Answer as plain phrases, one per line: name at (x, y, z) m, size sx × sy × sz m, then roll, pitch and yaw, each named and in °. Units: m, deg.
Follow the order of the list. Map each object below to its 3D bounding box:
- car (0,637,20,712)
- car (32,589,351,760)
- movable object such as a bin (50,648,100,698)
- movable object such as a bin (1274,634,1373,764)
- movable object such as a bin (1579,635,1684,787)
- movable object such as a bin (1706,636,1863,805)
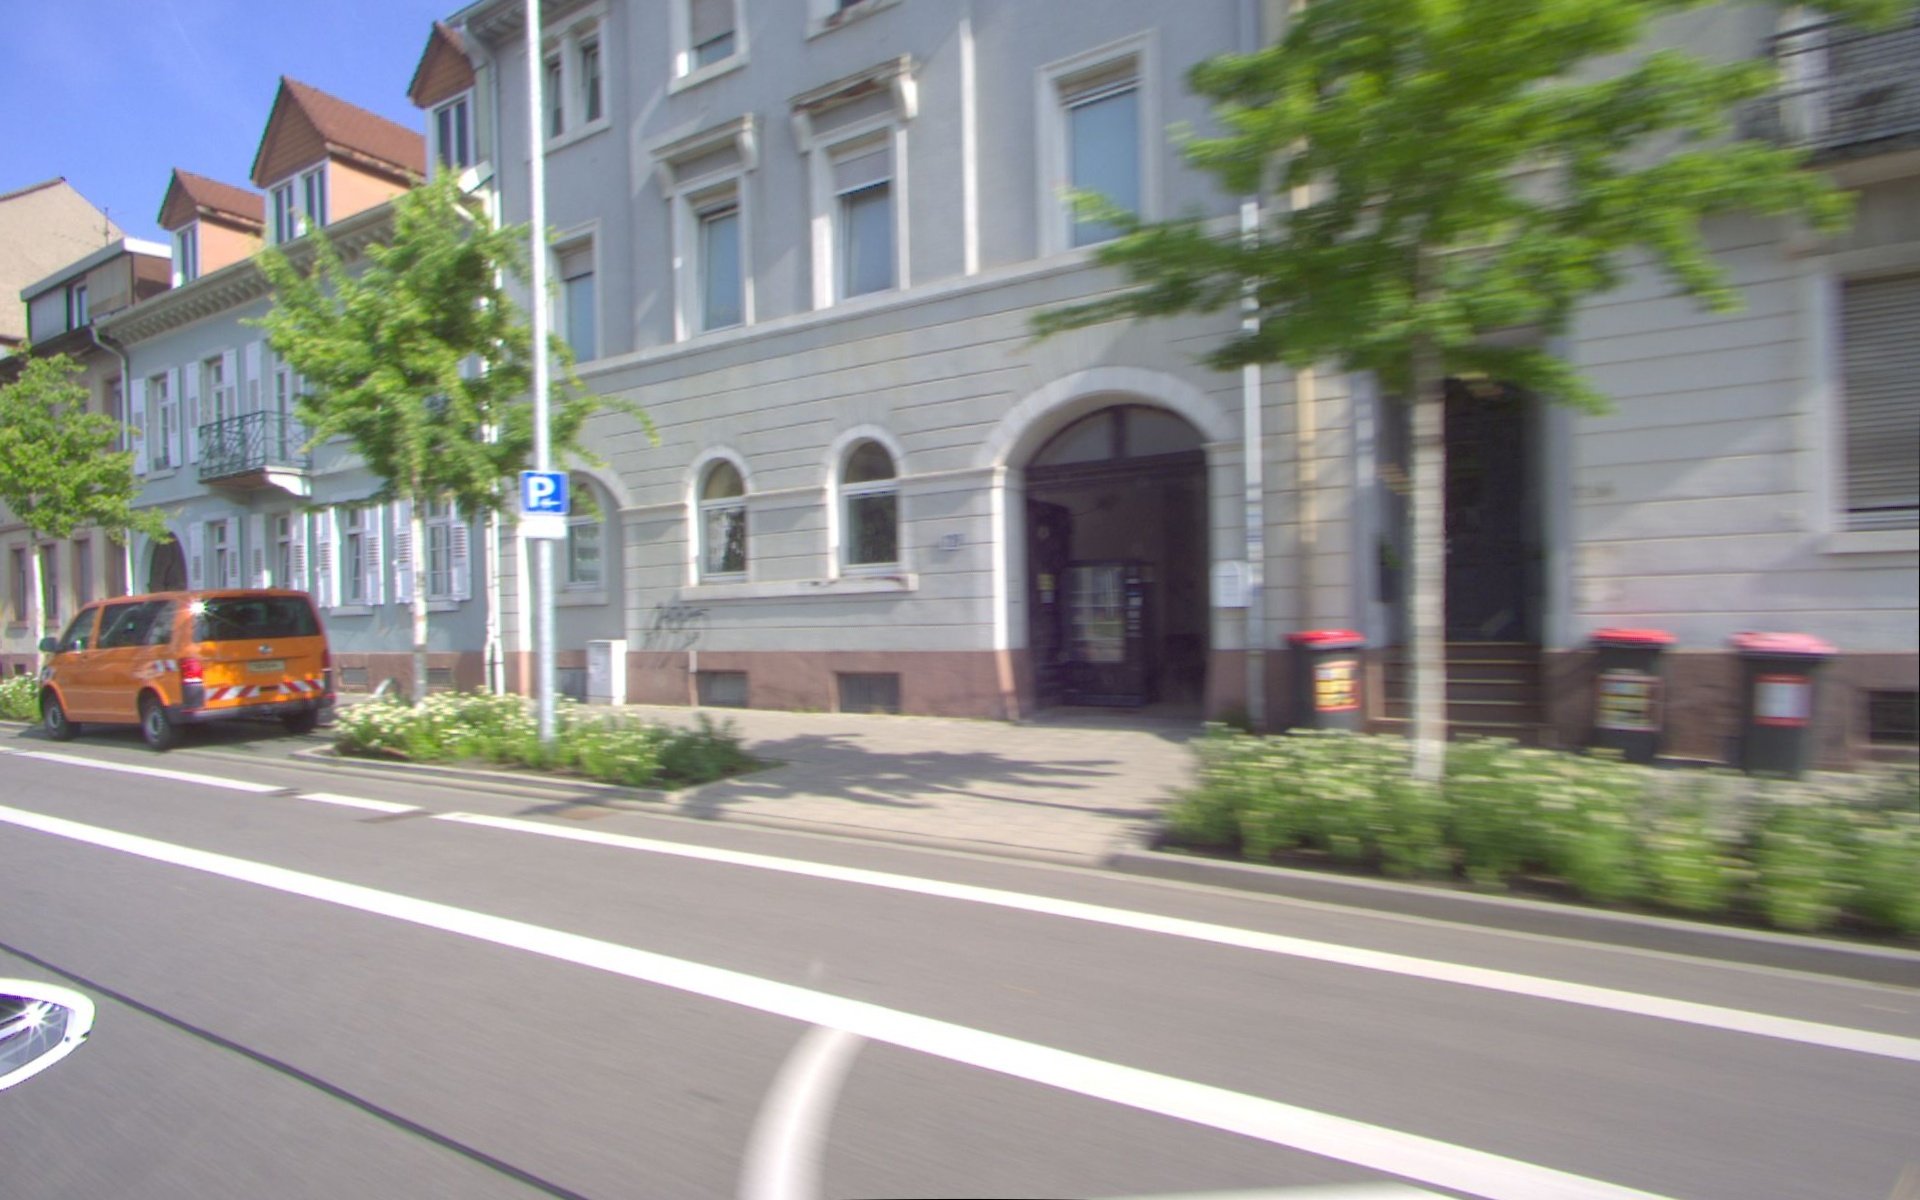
car at (-21.525, 1.597, 20.887) m, size 4.250 × 1.502 × 1.670 m, roll -2°, pitch 0°, yaw 31°
car at (-10.815, 0.948, 14.034) m, size 4.521 × 2.040 × 2.060 m, roll -1°, pitch -1°, yaw 31°
movable object such as a bin at (-22.033, 1.808, 24.938) m, size 0.762 × 1.215 × 0.739 m, roll -1°, pitch -1°, yaw 30°
movable object such as a bin at (3.420, 0.911, 9.458) m, size 0.606 × 1.167 × 0.670 m, roll 1°, pitch 0°, yaw -13°
movable object such as a bin at (5.536, 0.886, 8.289) m, size 0.661 × 1.167 × 0.704 m, roll 1°, pitch 0°, yaw 31°
movable object such as a bin at (6.300, 0.879, 7.703) m, size 0.795 × 1.187 × 0.780 m, roll 1°, pitch 0°, yaw 31°
